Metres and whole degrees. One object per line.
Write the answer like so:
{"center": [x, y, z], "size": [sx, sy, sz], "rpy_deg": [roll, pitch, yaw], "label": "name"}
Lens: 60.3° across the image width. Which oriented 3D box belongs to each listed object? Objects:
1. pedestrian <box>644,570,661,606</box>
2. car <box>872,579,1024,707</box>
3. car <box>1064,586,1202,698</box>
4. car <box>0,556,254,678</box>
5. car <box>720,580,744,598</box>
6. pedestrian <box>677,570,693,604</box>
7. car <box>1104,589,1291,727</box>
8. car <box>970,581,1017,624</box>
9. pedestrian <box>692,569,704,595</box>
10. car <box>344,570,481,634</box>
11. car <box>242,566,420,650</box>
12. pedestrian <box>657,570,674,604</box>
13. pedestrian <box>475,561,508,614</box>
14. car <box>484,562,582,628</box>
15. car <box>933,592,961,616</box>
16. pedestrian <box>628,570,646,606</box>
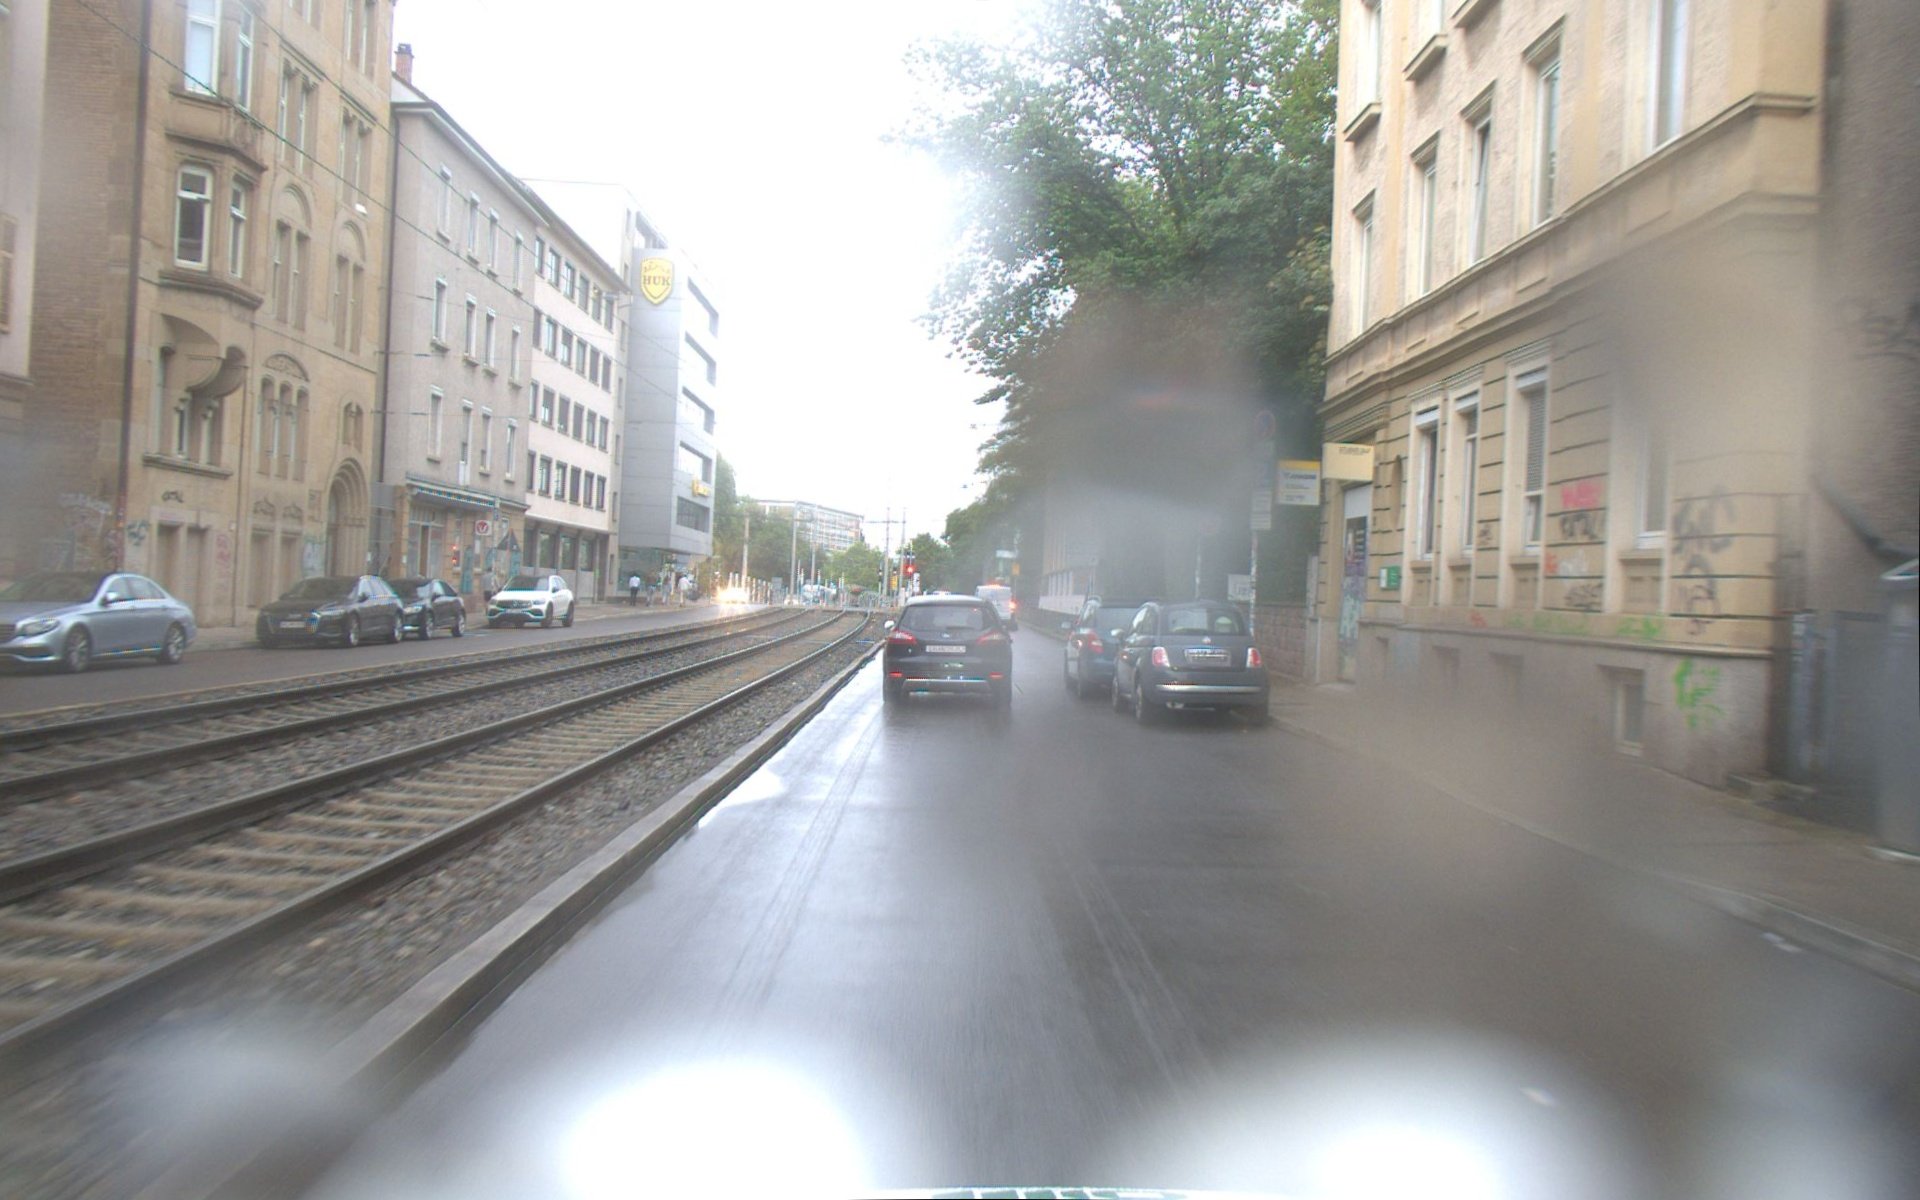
{"center": [-16.383, -0.623, 88.177], "size": [0.729, 1.886, 0.839], "rpy_deg": [2, -1, -2], "label": "pedestrian"}
{"center": [-0.155, 0.594, 23.936], "size": [1.953, 1.622, 4.271], "rpy_deg": [2, -1, 0], "label": "car"}
{"center": [2.645, 0.596, 26.102], "size": [1.609, 1.542, 4.038], "rpy_deg": [3, 1, -1], "label": "car"}
{"center": [-12.489, 0.208, 24.425], "size": [1.953, 1.545, 4.991], "rpy_deg": [3, 0, -1], "label": "car"}
{"center": [-19.752, -0.947, 143.253], "size": [1.956, 1.467, 3.993], "rpy_deg": [3, 1, -9], "label": "car"}
{"center": [-15.726, -0.745, 94.674], "size": [0.729, 1.886, 0.839], "rpy_deg": [2, -1, -2], "label": "pedestrian"}
{"center": [2.963, 0.670, 21.389], "size": [1.703, 1.515, 3.999], "rpy_deg": [3, 1, -1], "label": "car"}
{"center": [1.488, 0.141, 74.256], "size": [1.953, 1.848, 4.271], "rpy_deg": [2, -1, 0], "label": "car"}
{"center": [-19.710, -1.331, 124.575], "size": [0.729, 1.886, 0.839], "rpy_deg": [2, -1, -2], "label": "pedestrian"}
{"center": [-13.475, 0.039, 40.952], "size": [1.953, 1.400, 4.237], "rpy_deg": [3, 0, -1], "label": "car"}
{"center": [-13.208, 0.160, 35.059], "size": [1.953, 1.545, 4.675], "rpy_deg": [3, 0, -1], "label": "car"}
{"center": [-16.790, -0.726, 94.286], "size": [0.729, 1.886, 0.839], "rpy_deg": [2, -1, -2], "label": "pedestrian"}
{"center": [-15.956, -0.421, 56.366], "size": [0.785, 1.781, 0.984], "rpy_deg": [3, 0, -1], "label": "pedestrian"}
{"center": [-13.488, -0.156, 52.516], "size": [1.954, 1.871, 5.068], "rpy_deg": [3, 0, -3], "label": "car"}
{"center": [-0.944, 0.315, 120.262], "size": [1.953, 1.622, 4.271], "rpy_deg": [2, -1, 0], "label": "car"}
{"center": [-17.198, -0.620, 88.153], "size": [0.729, 1.886, 0.839], "rpy_deg": [2, -1, -2], "label": "pedestrian"}
